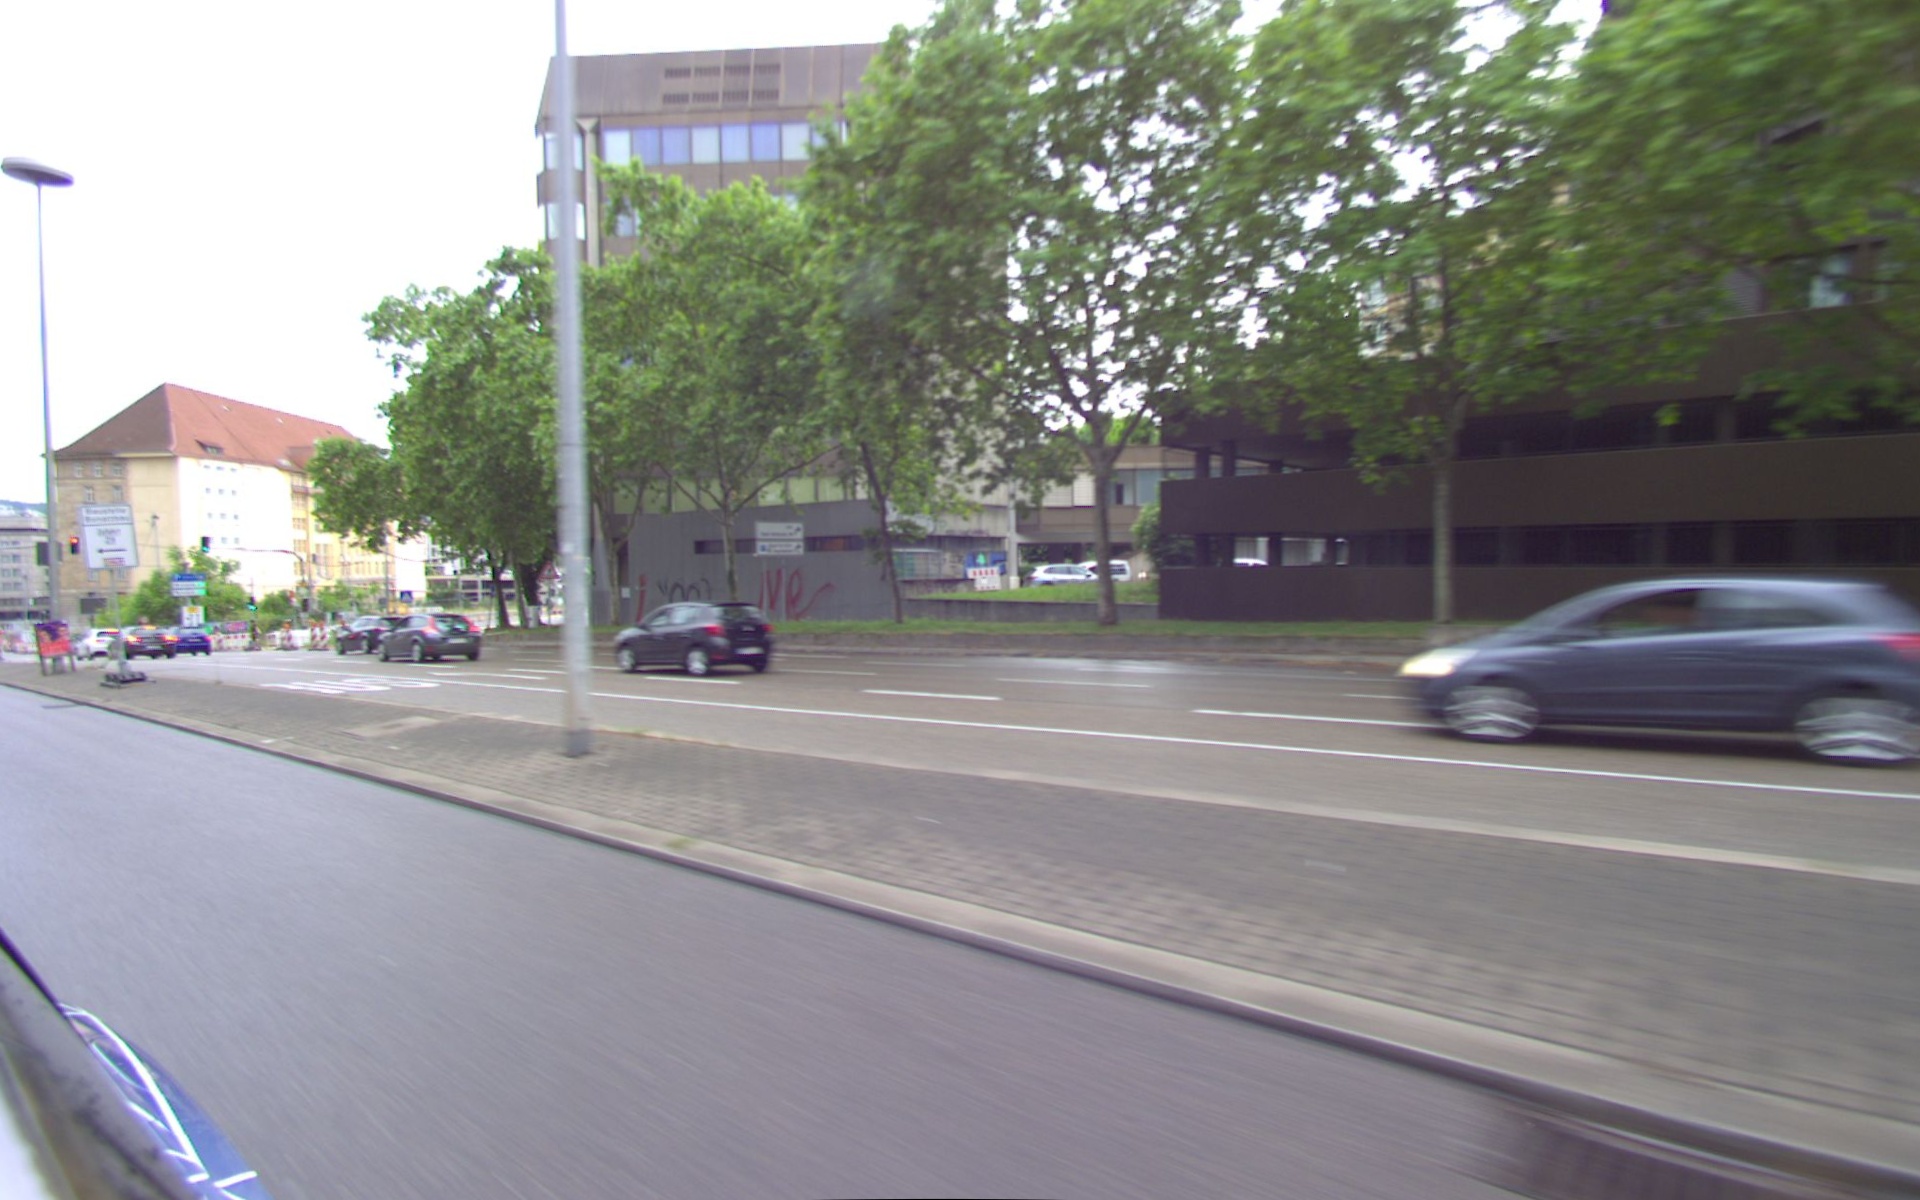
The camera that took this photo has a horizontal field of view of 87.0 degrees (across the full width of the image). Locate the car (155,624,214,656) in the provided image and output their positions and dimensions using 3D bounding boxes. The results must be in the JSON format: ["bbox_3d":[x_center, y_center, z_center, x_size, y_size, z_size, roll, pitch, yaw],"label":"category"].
[{"bbox_3d":[-39.061,1.995,50.941,3.437,1.497,1.775,-2,-1,43],"label":"car"}]

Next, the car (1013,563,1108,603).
[{"bbox_3d":[4.562,-0.774,46.406,3.937,1.730,2.004,-1,0,-8],"label":"car"}]

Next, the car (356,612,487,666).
[{"bbox_3d":[-16.080,1.144,30.126,4.503,1.447,1.914,-2,-1,40],"label":"car"}]

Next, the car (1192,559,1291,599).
[{"bbox_3d":[13.100,-0.963,47.125,3.993,1.730,1.975,-1,0,37],"label":"car"}]

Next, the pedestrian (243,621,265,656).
[{"bbox_3d":[-41.912,2.286,60.070,0.656,2.029,0.808,-1,0,10],"label":"pedestrian"}]

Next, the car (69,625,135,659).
[{"bbox_3d":[-40.911,1.957,48.210,3.861,1.497,1.776,-1,0,40],"label":"car"}]

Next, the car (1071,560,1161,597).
[{"bbox_3d":[7.786,-1.077,50.583,3.931,1.730,2.007,-2,0,-25],"label":"car"}]

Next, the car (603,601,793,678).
[{"bbox_3d":[-5.567,0.796,21.280,4.073,1.447,1.913,-2,-1,41],"label":"car"}]

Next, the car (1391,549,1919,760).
[{"bbox_3d":[6.256,0.436,8.921,4.165,1.511,1.916,-2,-1,36],"label":"car"}]

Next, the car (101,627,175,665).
[{"bbox_3d":[-35.413,1.932,43.573,3.861,1.497,1.776,-1,0,40],"label":"car"}]

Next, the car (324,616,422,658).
[{"bbox_3d":[-23.022,1.435,39.636,4.503,1.511,1.914,-1,0,40],"label":"car"}]
